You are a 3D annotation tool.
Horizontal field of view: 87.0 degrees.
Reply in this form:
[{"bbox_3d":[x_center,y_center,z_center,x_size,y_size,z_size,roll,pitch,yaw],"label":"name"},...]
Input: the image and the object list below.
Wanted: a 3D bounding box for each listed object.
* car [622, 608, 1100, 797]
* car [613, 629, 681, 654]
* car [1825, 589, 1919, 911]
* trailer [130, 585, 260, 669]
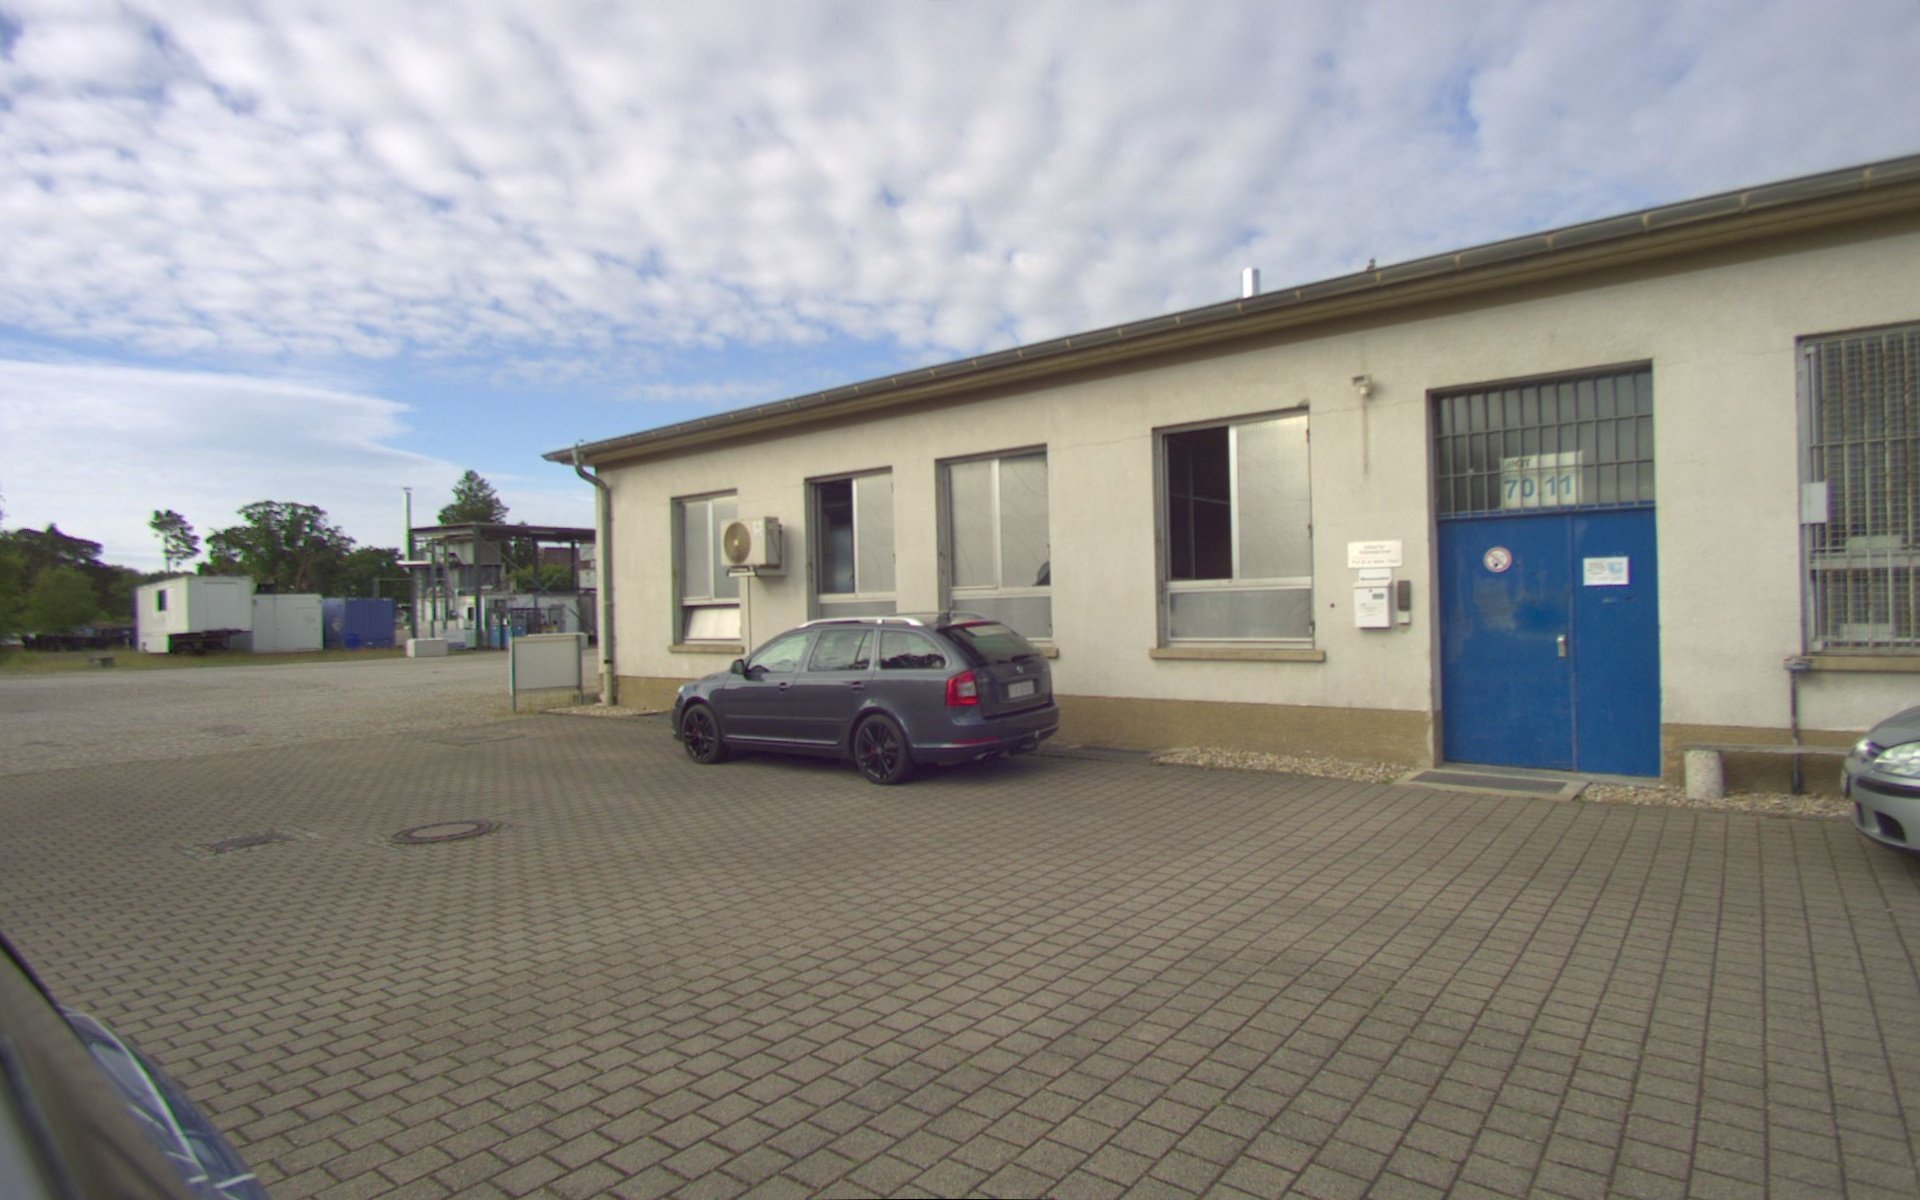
[{"bbox_3d":[-1.169,0.902,10.231,4.804,1.472,1.906,-3,-2,38],"label":"car"},{"bbox_3d":[-18.955,2.495,61.225,3.992,1.484,1.910,-2,-3,36],"label":"car"},{"bbox_3d":[6.476,0.599,4.093,4.361,1.450,1.906,-3,-2,38],"label":"car"},{"bbox_3d":[-36.925,1.361,48.632,10.771,3.690,2.839,-3,-2,41],"label":"trailer"}]
